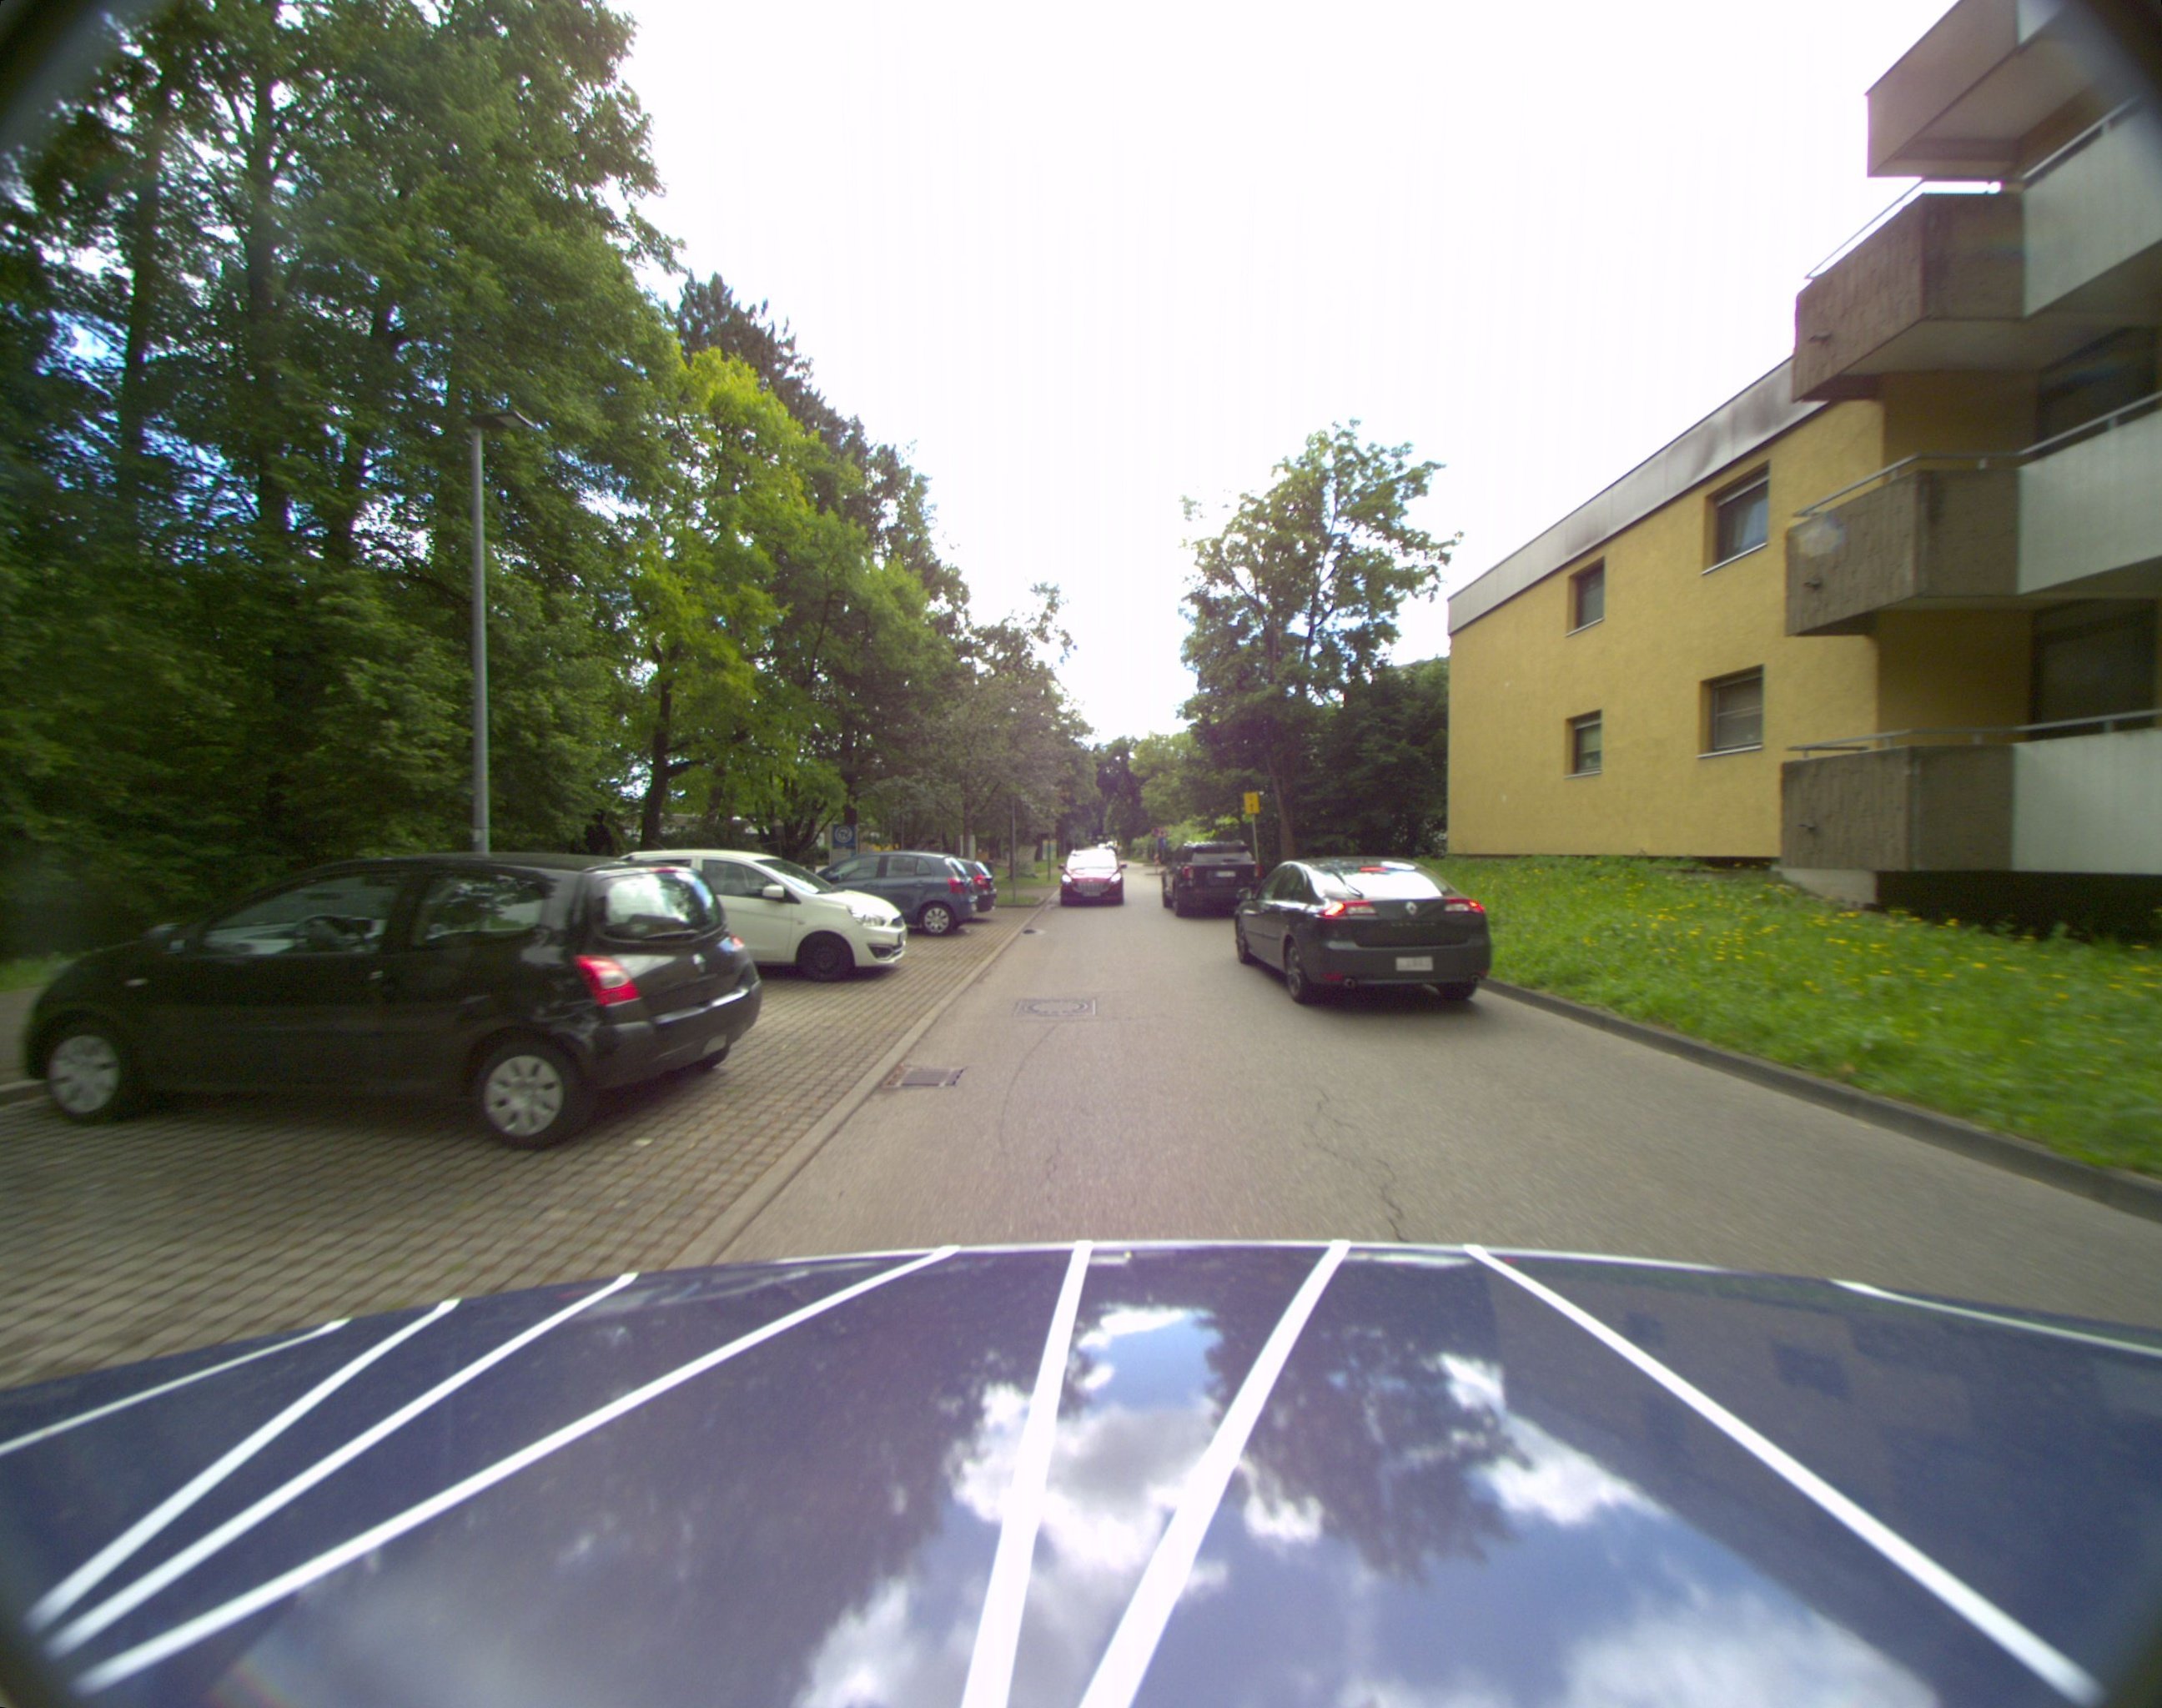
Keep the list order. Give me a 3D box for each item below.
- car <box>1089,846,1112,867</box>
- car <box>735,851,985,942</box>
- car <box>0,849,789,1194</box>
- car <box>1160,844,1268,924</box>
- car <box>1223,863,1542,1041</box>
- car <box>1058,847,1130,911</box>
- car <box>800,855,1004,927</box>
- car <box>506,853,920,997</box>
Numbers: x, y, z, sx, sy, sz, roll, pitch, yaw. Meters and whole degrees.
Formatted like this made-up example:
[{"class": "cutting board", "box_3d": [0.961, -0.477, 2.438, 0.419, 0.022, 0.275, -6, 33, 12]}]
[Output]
[{"class": "car", "box_3d": [1.659, 0.167, 66.466, 1.918, 1.707, 5.038, -1, 0, 1]}, {"class": "car", "box_3d": [-3.998, 0.741, 14.217, 4.145, 1.561, 1.785, 1, 1, 0]}, {"class": "car", "box_3d": [-4.197, 0.769, 4.542, 4.168, 1.561, 1.851, 1, 1, 3]}, {"class": "car", "box_3d": [3.162, 0.640, 19.130, 1.918, 1.707, 5.058, -1, 0, 1]}, {"class": "car", "box_3d": [2.967, 0.855, 8.646, 1.918, 1.403, 4.423, -1, 0, 1]}, {"class": "car", "box_3d": [0.401, 0.658, 23.026, 1.918, 1.707, 5.038, -1, 0, 1]}, {"class": "car", "box_3d": [-3.839, 0.786, 16.808, 4.096, 1.455, 1.785, 1, 1, 0]}, {"class": "car", "box_3d": [-4.233, 0.797, 9.290, 4.170, 1.561, 1.785, 1, 1, -3]}]
